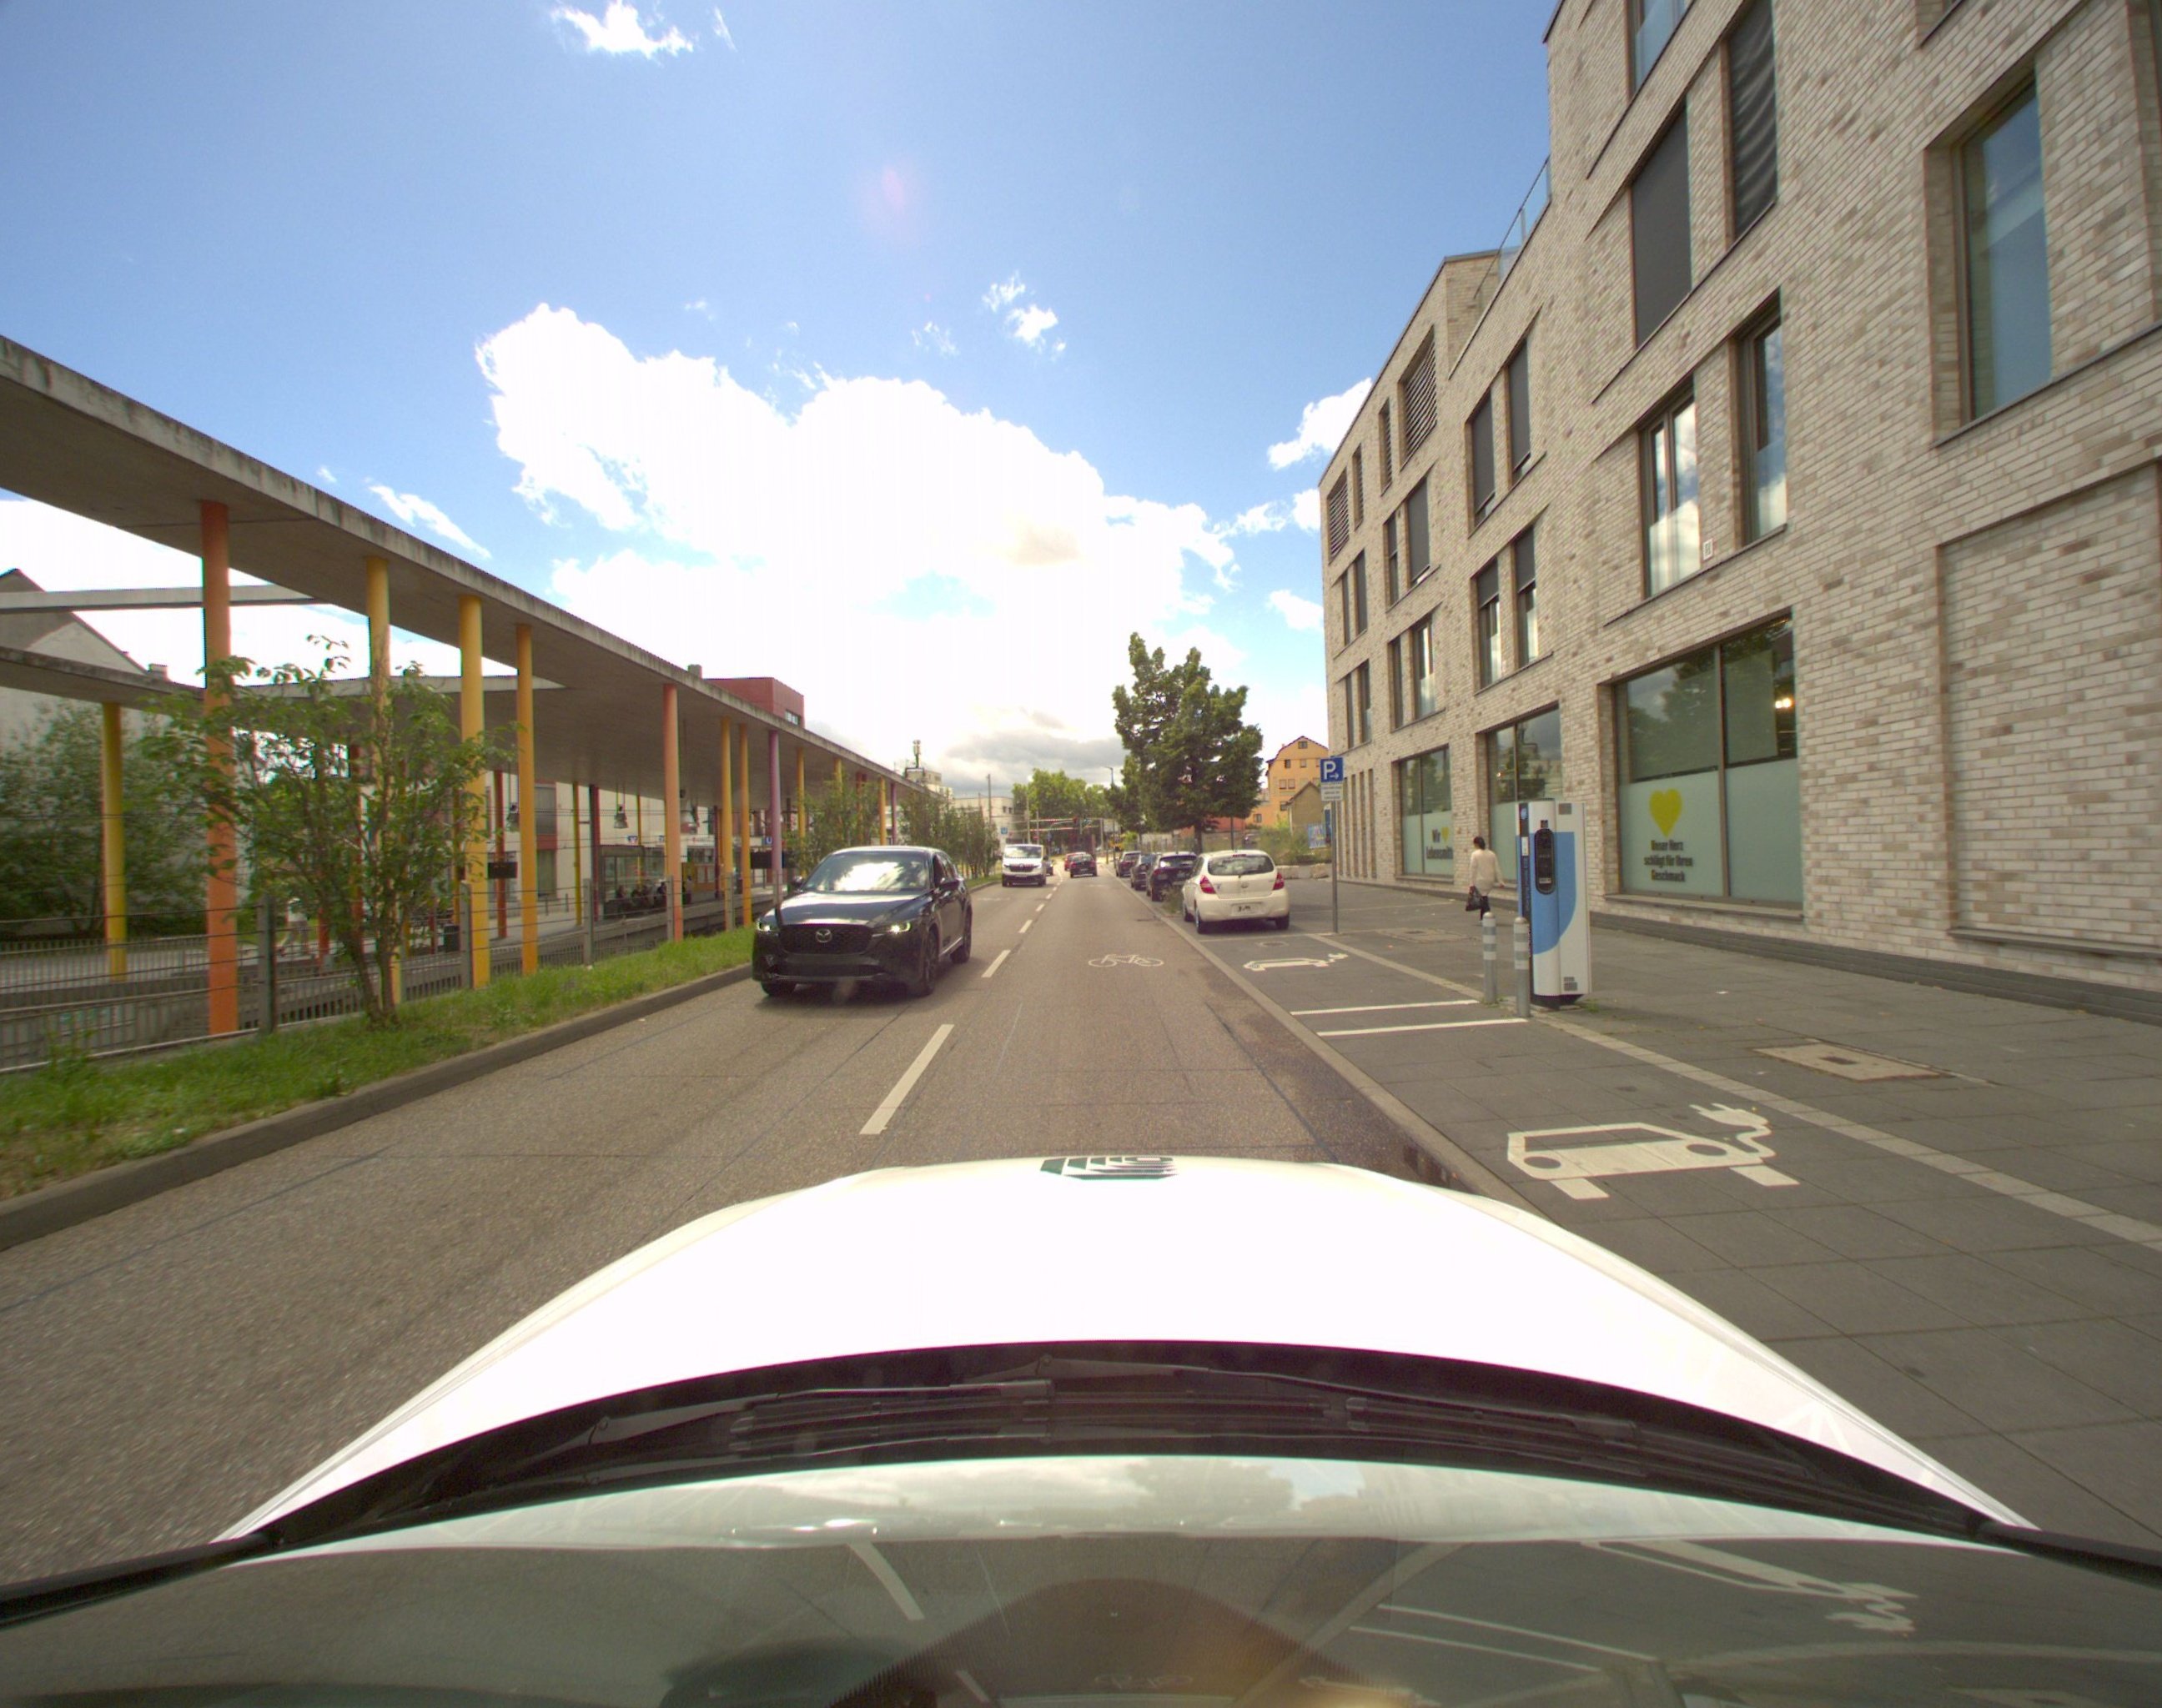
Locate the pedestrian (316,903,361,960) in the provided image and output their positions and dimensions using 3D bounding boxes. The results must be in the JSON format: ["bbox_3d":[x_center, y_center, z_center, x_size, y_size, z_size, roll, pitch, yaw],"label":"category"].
[{"bbox_3d":[-22.541,2.349,24.738,0.639,1.662,0.730,-1,-2,0],"label":"pedestrian"}]

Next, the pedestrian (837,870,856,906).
[{"bbox_3d":[-10.840,1.581,37.686,0.627,1.614,0.636,-1,1,1],"label":"pedestrian"}]

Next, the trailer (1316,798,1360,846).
[{"bbox_3d":[18.266,-2.191,58.138,2.387,3.122,6.184,-3,0,14],"label":"trailer"}]

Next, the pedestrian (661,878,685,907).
[{"bbox_3d":[-20.137,1.905,40.209,0.819,1.379,0.702,-1,1,1],"label":"pedestrian"}]

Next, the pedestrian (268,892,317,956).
[{"bbox_3d":[-23.665,2.083,24.454,0.639,1.883,0.800,-1,-2,0],"label":"pedestrian"}]

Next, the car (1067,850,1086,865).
[{"bbox_3d":[-0.424,0.385,87.837,1.881,1.465,4.070,-3,-1,1],"label":"car"}]

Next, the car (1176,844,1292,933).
[{"bbox_3d":[2.935,0.609,16.356,1.686,1.483,3.800,-3,0,2],"label":"car"}]

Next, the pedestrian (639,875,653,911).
[{"bbox_3d":[-22.650,2.010,42.404,0.481,1.820,0.491,-1,1,-3],"label":"pedestrian"}]

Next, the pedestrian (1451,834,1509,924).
[{"bbox_3d":[6.853,0.412,14.019,0.604,1.472,0.793,-3,0,8],"label":"pedestrian"}]

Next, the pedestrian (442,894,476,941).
[{"bbox_3d":[-22.368,2.272,29.309,0.639,1.662,0.730,-1,-2,0],"label":"pedestrian"}]

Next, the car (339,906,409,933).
[{"bbox_3d":[-41.280,3.825,47.534,3.673,1.325,1.656,-5,-3,23],"label":"car"}]

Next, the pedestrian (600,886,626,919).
[{"bbox_3d":[-20.369,2.116,35.484,0.683,1.379,0.705,-1,1,1],"label":"pedestrian"}]

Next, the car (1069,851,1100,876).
[{"bbox_3d":[0.173,0.586,52.302,1.722,1.456,3.805,-3,1,-3],"label":"car"}]

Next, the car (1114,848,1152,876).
[{"bbox_3d":[2.951,0.447,47.084,1.777,1.451,4.473,-4,0,-1],"label":"car"}]

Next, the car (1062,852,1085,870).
[{"bbox_3d":[-0.688,0.581,70.122,1.708,1.393,3.804,-3,1,-4],"label":"car"}]

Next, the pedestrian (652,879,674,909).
[{"bbox_3d":[-20.187,1.936,39.334,0.649,1.379,0.702,-1,1,1],"label":"pedestrian"}]

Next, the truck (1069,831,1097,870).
[{"bbox_3d":[0.323,-0.357,101.650,3.191,4.536,9.031,-1,-1,2],"label":"truck"}]

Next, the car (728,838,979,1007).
[{"bbox_3d":[-2.482,0.661,10.176,1.914,1.605,4.624,-1,0,-1],"label":"car"}]

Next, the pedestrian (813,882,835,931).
[{"bbox_3d":[-9.611,1.952,30.474,0.584,1.830,0.710,-1,-2,2],"label":"pedestrian"}]

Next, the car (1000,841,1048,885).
[{"bbox_3d":[-2.603,0.414,38.427,1.998,1.917,5.061,-1,0,-2],"label":"car"}]

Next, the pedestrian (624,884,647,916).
[{"bbox_3d":[-20.351,2.102,37.232,0.649,1.379,0.702,-1,1,1],"label":"pedestrian"}]

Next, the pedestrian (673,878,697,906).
[{"bbox_3d":[-20.043,1.926,41.228,0.819,1.379,0.702,-1,1,1],"label":"pedestrian"}]

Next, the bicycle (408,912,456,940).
[{"bbox_3d":[-24.980,2.762,31.355,0.481,0.963,1.614,-1,-2,3],"label":"bicycle"}]

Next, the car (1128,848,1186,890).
[{"bbox_3d":[2.926,0.541,32.345,1.858,1.451,4.643,-3,0,1],"label":"car"}]

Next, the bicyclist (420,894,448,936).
[{"bbox_3d":[-24.975,2.335,31.448,0.481,1.593,0.682,-1,-2,3],"label":"bicyclist"}]

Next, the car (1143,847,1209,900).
[{"bbox_3d":[2.928,0.562,25.901,1.686,1.461,4.148,-3,0,2],"label":"car"}]

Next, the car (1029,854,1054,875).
[{"bbox_3d":[-2.972,0.733,60.595,1.721,1.521,4.248,0,0,-4],"label":"car"}]

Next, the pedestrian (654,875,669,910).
[{"bbox_3d":[-21.917,1.994,42.524,0.481,1.775,0.491,-1,1,-3],"label":"pedestrian"}]

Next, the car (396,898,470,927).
[{"bbox_3d":[-36.276,3.280,45.603,3.673,1.325,1.656,-5,-3,23],"label":"car"}]
